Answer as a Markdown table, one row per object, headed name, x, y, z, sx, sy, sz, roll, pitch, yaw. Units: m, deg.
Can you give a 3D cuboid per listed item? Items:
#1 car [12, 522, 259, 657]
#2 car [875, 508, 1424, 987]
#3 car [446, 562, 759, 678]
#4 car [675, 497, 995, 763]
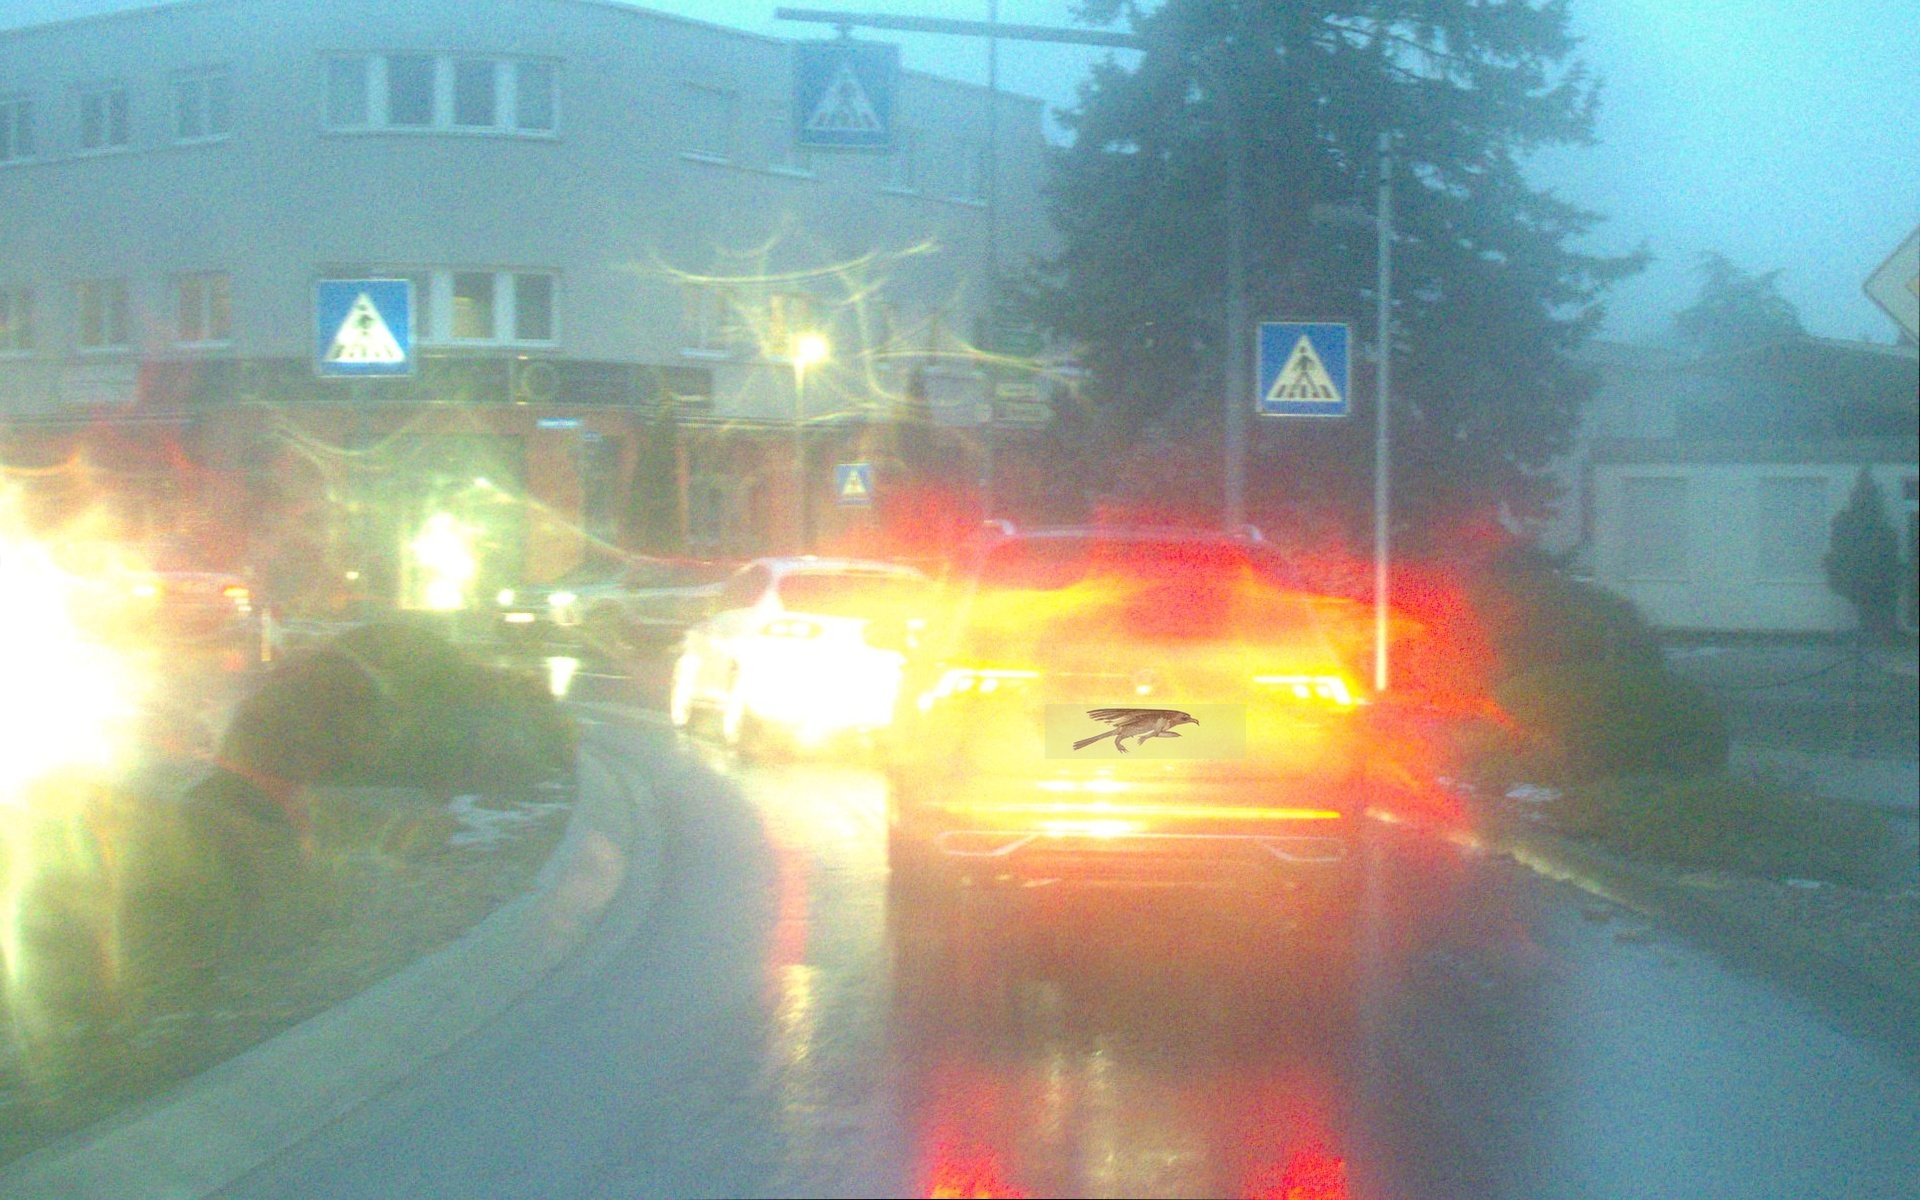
| name | x | y | z | sx | sy | sz | roll | pitch | yaw |
| --- | --- | --- | --- | --- | --- | --- | --- | --- | --- |
| car | -11.638 | -0.193 | 48.297 | 2.063 | 1.711 | 4.572 | -1 | 3 | -31 |
| car | 0.642 | 0.486 | 14.524 | 1.944 | 1.712 | 4.001 | 0 | 2 | -2 |
| car | -5.211 | 0.251 | 50.602 | 1.906 | 1.566 | 4.561 | 3 | 2 | 39 |
| car | -1.074 | 0.145 | 26.863 | 2.163 | 1.683 | 4.573 | -3 | 3 | -5 |
